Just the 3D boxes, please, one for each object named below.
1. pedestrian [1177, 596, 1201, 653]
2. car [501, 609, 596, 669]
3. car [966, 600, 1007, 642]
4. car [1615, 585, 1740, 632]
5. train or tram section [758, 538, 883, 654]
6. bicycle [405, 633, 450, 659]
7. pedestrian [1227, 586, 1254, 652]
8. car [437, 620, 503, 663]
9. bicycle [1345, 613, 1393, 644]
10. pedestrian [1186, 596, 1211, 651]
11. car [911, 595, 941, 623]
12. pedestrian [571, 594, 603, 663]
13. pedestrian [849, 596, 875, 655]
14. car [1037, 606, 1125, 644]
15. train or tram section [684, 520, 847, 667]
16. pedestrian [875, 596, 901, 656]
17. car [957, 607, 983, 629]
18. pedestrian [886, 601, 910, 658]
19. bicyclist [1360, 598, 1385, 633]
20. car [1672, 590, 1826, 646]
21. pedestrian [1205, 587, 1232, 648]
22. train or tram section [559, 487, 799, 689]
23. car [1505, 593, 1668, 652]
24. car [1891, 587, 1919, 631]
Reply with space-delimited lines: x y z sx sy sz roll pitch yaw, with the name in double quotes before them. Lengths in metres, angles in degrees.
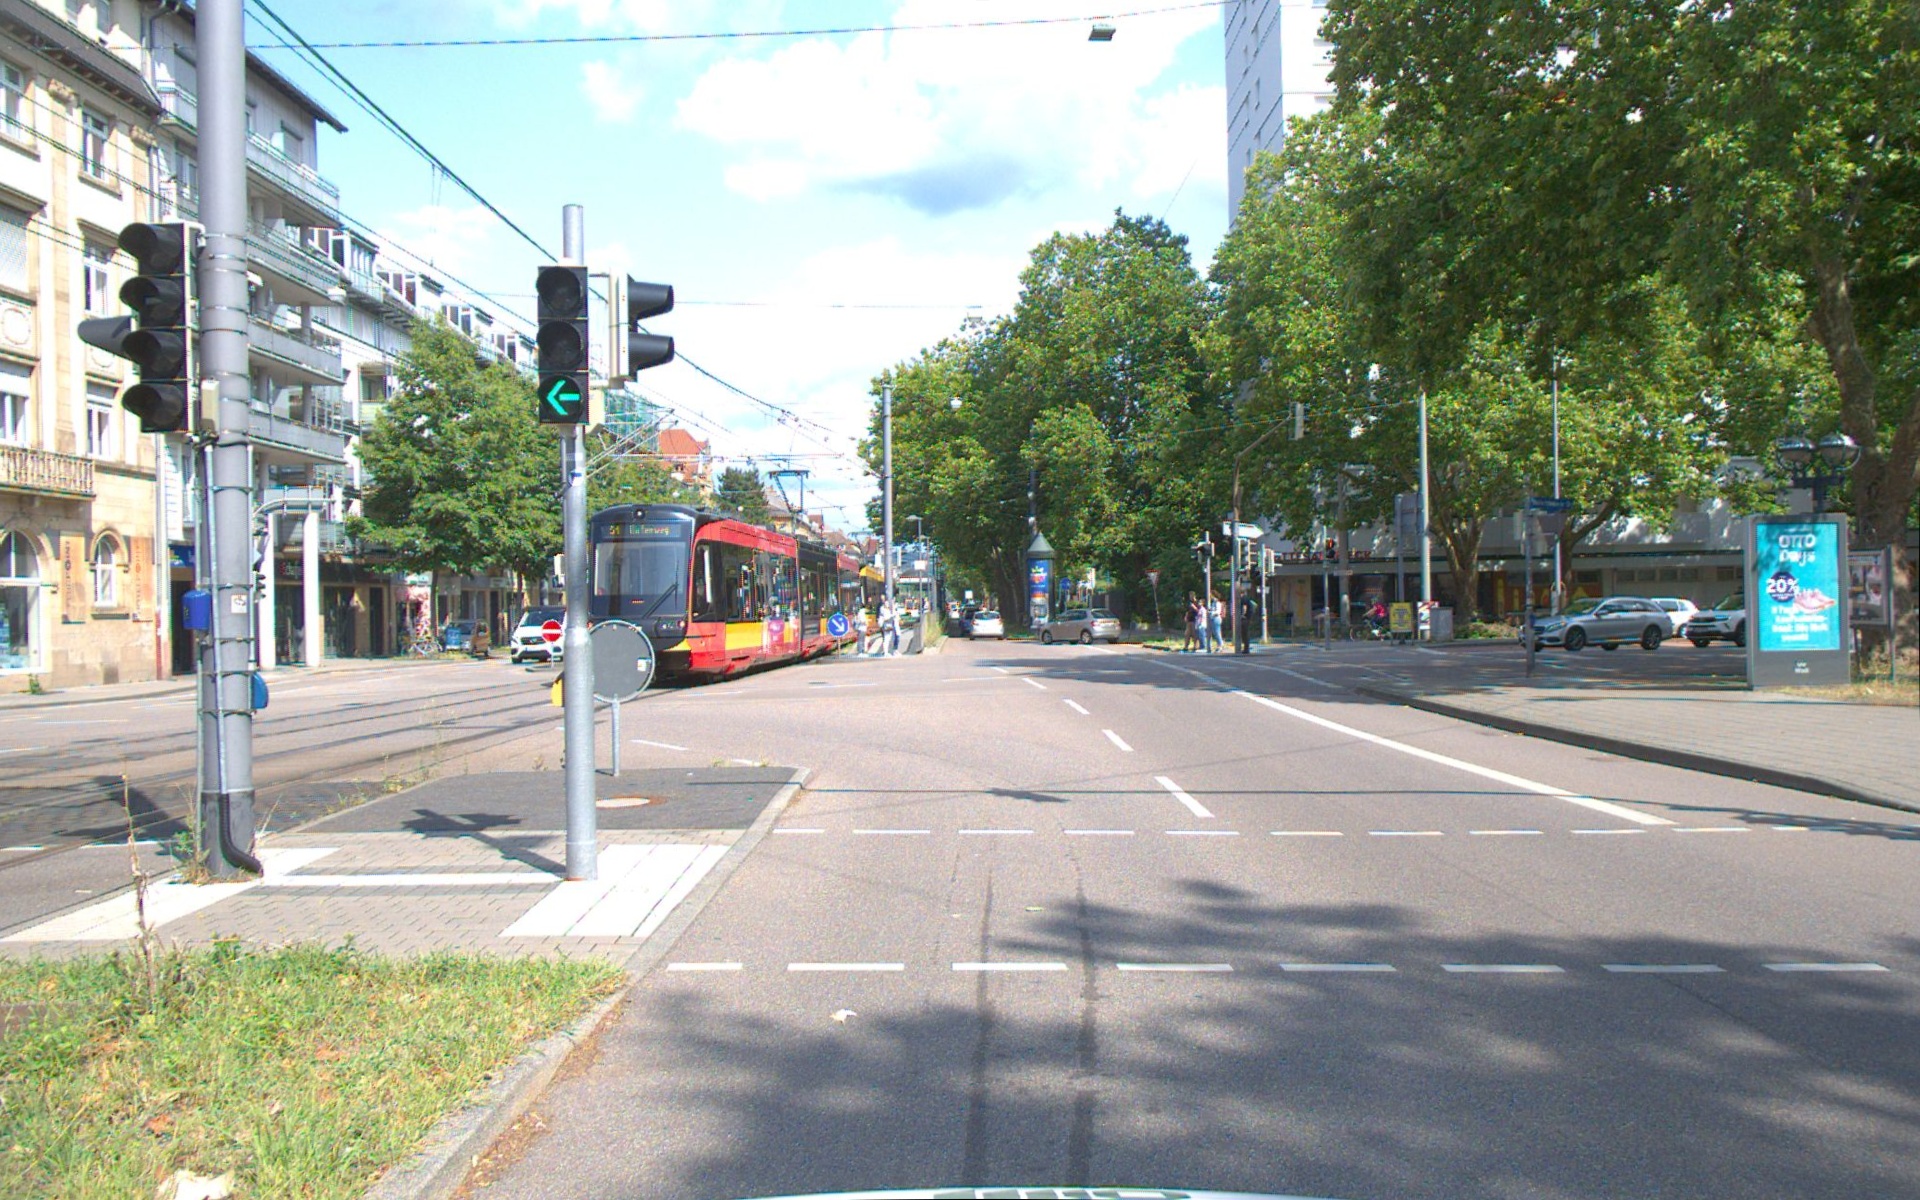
"pedestrian" 7.014 0.745 50.614 0.503 1.700 0.553 -1 0 -21
"car" -14.262 1.304 57.671 1.953 1.924 5.172 -1 0 0
"car" 1.316 1.054 84.388 1.953 2.049 3.999 0 0 -1
"car" 25.088 0.299 57.906 3.586 1.510 1.736 -2 0 -1
"train or tram section" -4.735 -0.123 58.854 2.747 3.623 12.161 -2 0 3
"bicycle" -21.661 1.880 67.312 1.655 1.003 0.497 -2 0 -3
"pedestrian" 7.920 0.540 46.674 0.473 1.857 0.553 -2 -1 42
"car" -22.129 1.853 74.794 1.809 1.821 3.999 1 0 -1
"bicycle" 15.216 1.055 61.554 1.644 1.107 0.482 1 -1 28
"pedestrian" 7.228 0.703 50.071 0.503 1.625 0.553 -1 0 -21
"car" -2.344 0.615 114.544 1.777 1.836 4.001 -2 0 3
"pedestrian" -11.259 0.847 49.979 0.722 2.049 0.704 -1 0 5
"pedestrian" -2.918 0.752 49.153 0.655 1.732 0.648 -1 0 2
"car" 4.982 1.028 68.464 1.735 1.478 3.558 -1 0 -37
"train or tram section" -5.280 -0.151 47.201 2.747 3.623 11.185 -2 0 2
"pedestrian" -2.131 0.762 49.019 0.655 1.732 0.648 -1 0 2
"car" 0.629 1.113 105.049 1.455 1.338 3.997 -1 0 -3
"pedestrian" -1.908 0.904 51.101 0.655 1.732 0.648 -1 0 2
"bicyclist" 15.340 0.562 61.495 0.796 1.273 0.482 1 -1 27
"car" 23.218 0.522 48.685 4.005 1.516 1.849 -1 0 -22
"pedestrian" 7.608 0.525 48.666 0.520 1.766 0.553 -1 0 -21
"train or tram section" -5.708 -0.210 35.956 2.738 3.623 11.380 -2 0 2
"car" 17.434 0.609 46.074 3.924 1.516 1.852 -1 0 -17
"car" 35.006 0.267 58.003 3.766 1.516 1.857 -2 0 -9
